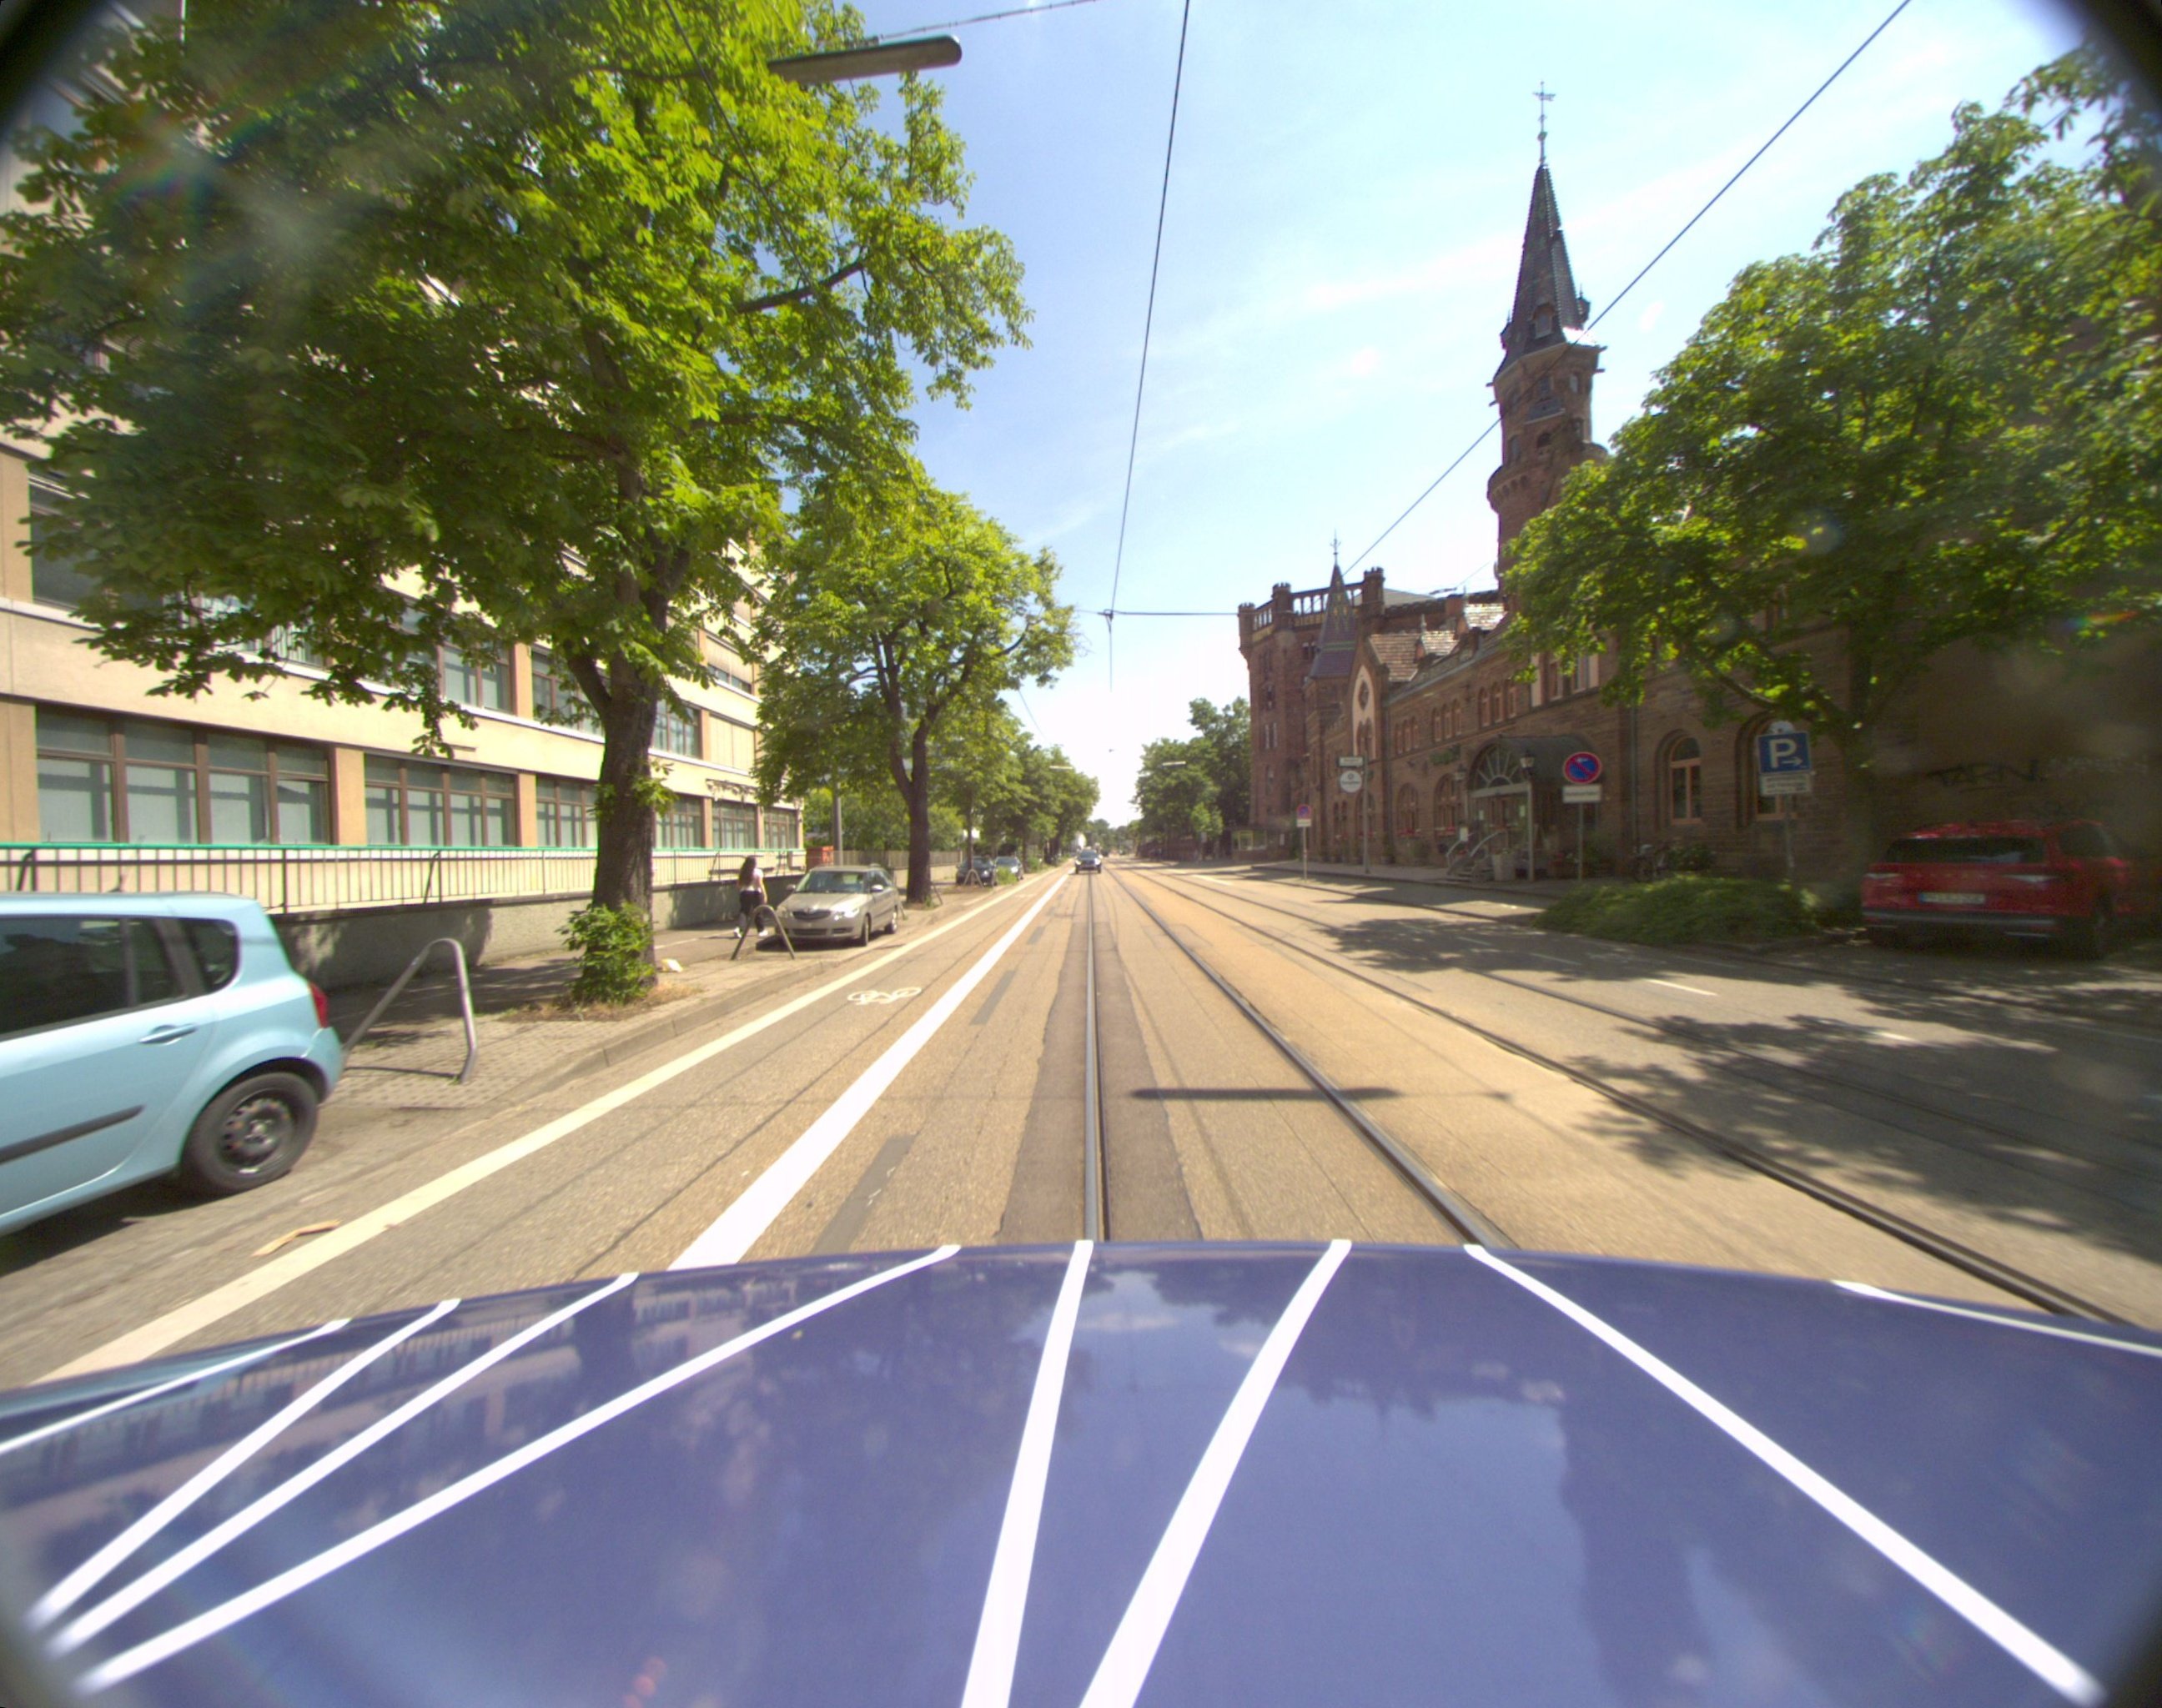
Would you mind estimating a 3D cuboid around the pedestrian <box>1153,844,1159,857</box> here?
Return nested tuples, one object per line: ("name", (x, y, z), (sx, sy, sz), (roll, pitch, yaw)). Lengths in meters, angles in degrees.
("pedestrian", (10.860, -0.515, 110.592), (0.679, 1.738, 0.919), (-5, 1, 1))

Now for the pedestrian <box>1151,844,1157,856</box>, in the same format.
("pedestrian", (10.767, -0.580, 112.536), (0.679, 1.780, 0.919), (-5, 1, 1))

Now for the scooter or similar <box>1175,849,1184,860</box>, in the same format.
("scooter or similar", (11.076, 0.017, 85.487), (0.348, 1.120, 1.227), (-2, 2, 44))

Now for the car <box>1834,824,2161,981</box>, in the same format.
("car", (12.182, 0.469, 9.899), (4.786, 1.557, 1.997), (-2, 1, -27))

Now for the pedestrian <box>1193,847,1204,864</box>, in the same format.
("pedestrian", (11.153, 0.117, 72.279), (0.801, 1.579, 0.919), (-5, 1, 0))

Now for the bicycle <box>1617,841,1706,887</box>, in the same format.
("bicycle", (14.051, 0.239, 18.394), (2.002, 0.886, 0.597), (-7, 2, -16))

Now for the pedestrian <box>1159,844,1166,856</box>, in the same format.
("pedestrian", (11.803, -0.586, 110.504), (0.754, 1.766, 0.919), (-5, 1, 1))

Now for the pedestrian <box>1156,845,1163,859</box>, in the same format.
("pedestrian", (10.495, -0.311, 101.062), (0.723, 1.781, 0.919), (-5, 1, 1))

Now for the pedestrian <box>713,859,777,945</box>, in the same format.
("pedestrian", (-6.433, 0.900, 14.580), (0.801, 1.579, 0.919), (0, 1, 0))

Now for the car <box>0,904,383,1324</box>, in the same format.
("car", (-5.035, 1.090, 2.431), (1.675, 1.509, 4.201), (-2, 0, 0))

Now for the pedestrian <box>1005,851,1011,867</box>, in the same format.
("pedestrian", (-7.466, 0.495, 77.973), (0.514, 1.564, 0.544), (0, 1, 1))

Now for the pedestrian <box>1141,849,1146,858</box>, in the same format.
("pedestrian", (12.366, -0.152, 150.840), (0.750, 1.738, 0.919), (-4, 1, 1))

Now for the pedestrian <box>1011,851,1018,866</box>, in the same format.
("pedestrian", (-6.824, 0.466, 77.898), (0.620, 1.564, 0.610), (0, 1, 1))

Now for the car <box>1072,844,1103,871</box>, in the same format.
("car", (0.437, 0.206, 53.465), (1.998, 1.732, 4.226), (-3, 0, 1))

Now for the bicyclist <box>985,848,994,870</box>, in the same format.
("bicyclist", (-6.768, 0.397, 56.485), (0.582, 1.638, 0.599), (0, 1, 1))

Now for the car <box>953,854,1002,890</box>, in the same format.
("car", (-4.680, 0.795, 34.830), (1.675, 1.481, 3.980), (-2, 0, 0))

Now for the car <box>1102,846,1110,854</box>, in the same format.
("car", (6.196, -1.004, 187.846), (1.909, 1.778, 4.255), (-1, 0, 1))

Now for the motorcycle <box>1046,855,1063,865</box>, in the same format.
("motorcycle", (-3.005, 0.681, 86.468), (2.056, 1.206, 0.614), (-1, 2, 40))

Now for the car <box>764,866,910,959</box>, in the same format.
("car", (-4.738, 1.050, 15.415), (1.676, 1.490, 4.364), (-2, 0, -2))

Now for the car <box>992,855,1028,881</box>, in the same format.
("car", (-4.236, 0.791, 45.845), (1.675, 1.400, 4.748), (-2, 0, 0))

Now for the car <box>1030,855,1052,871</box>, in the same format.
("car", (-3.704, 0.817, 71.231), (1.755, 1.263, 3.833), (-3, 0, 1))

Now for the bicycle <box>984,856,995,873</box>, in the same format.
("bicycle", (-6.773, 0.772, 56.446), (0.556, 1.258, 1.773), (1, 1, 1))

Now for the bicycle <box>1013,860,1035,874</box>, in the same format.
("bicycle", (-4.405, 1.000, 58.566), (1.589, 1.054, 0.562), (-2, 1, -1))
